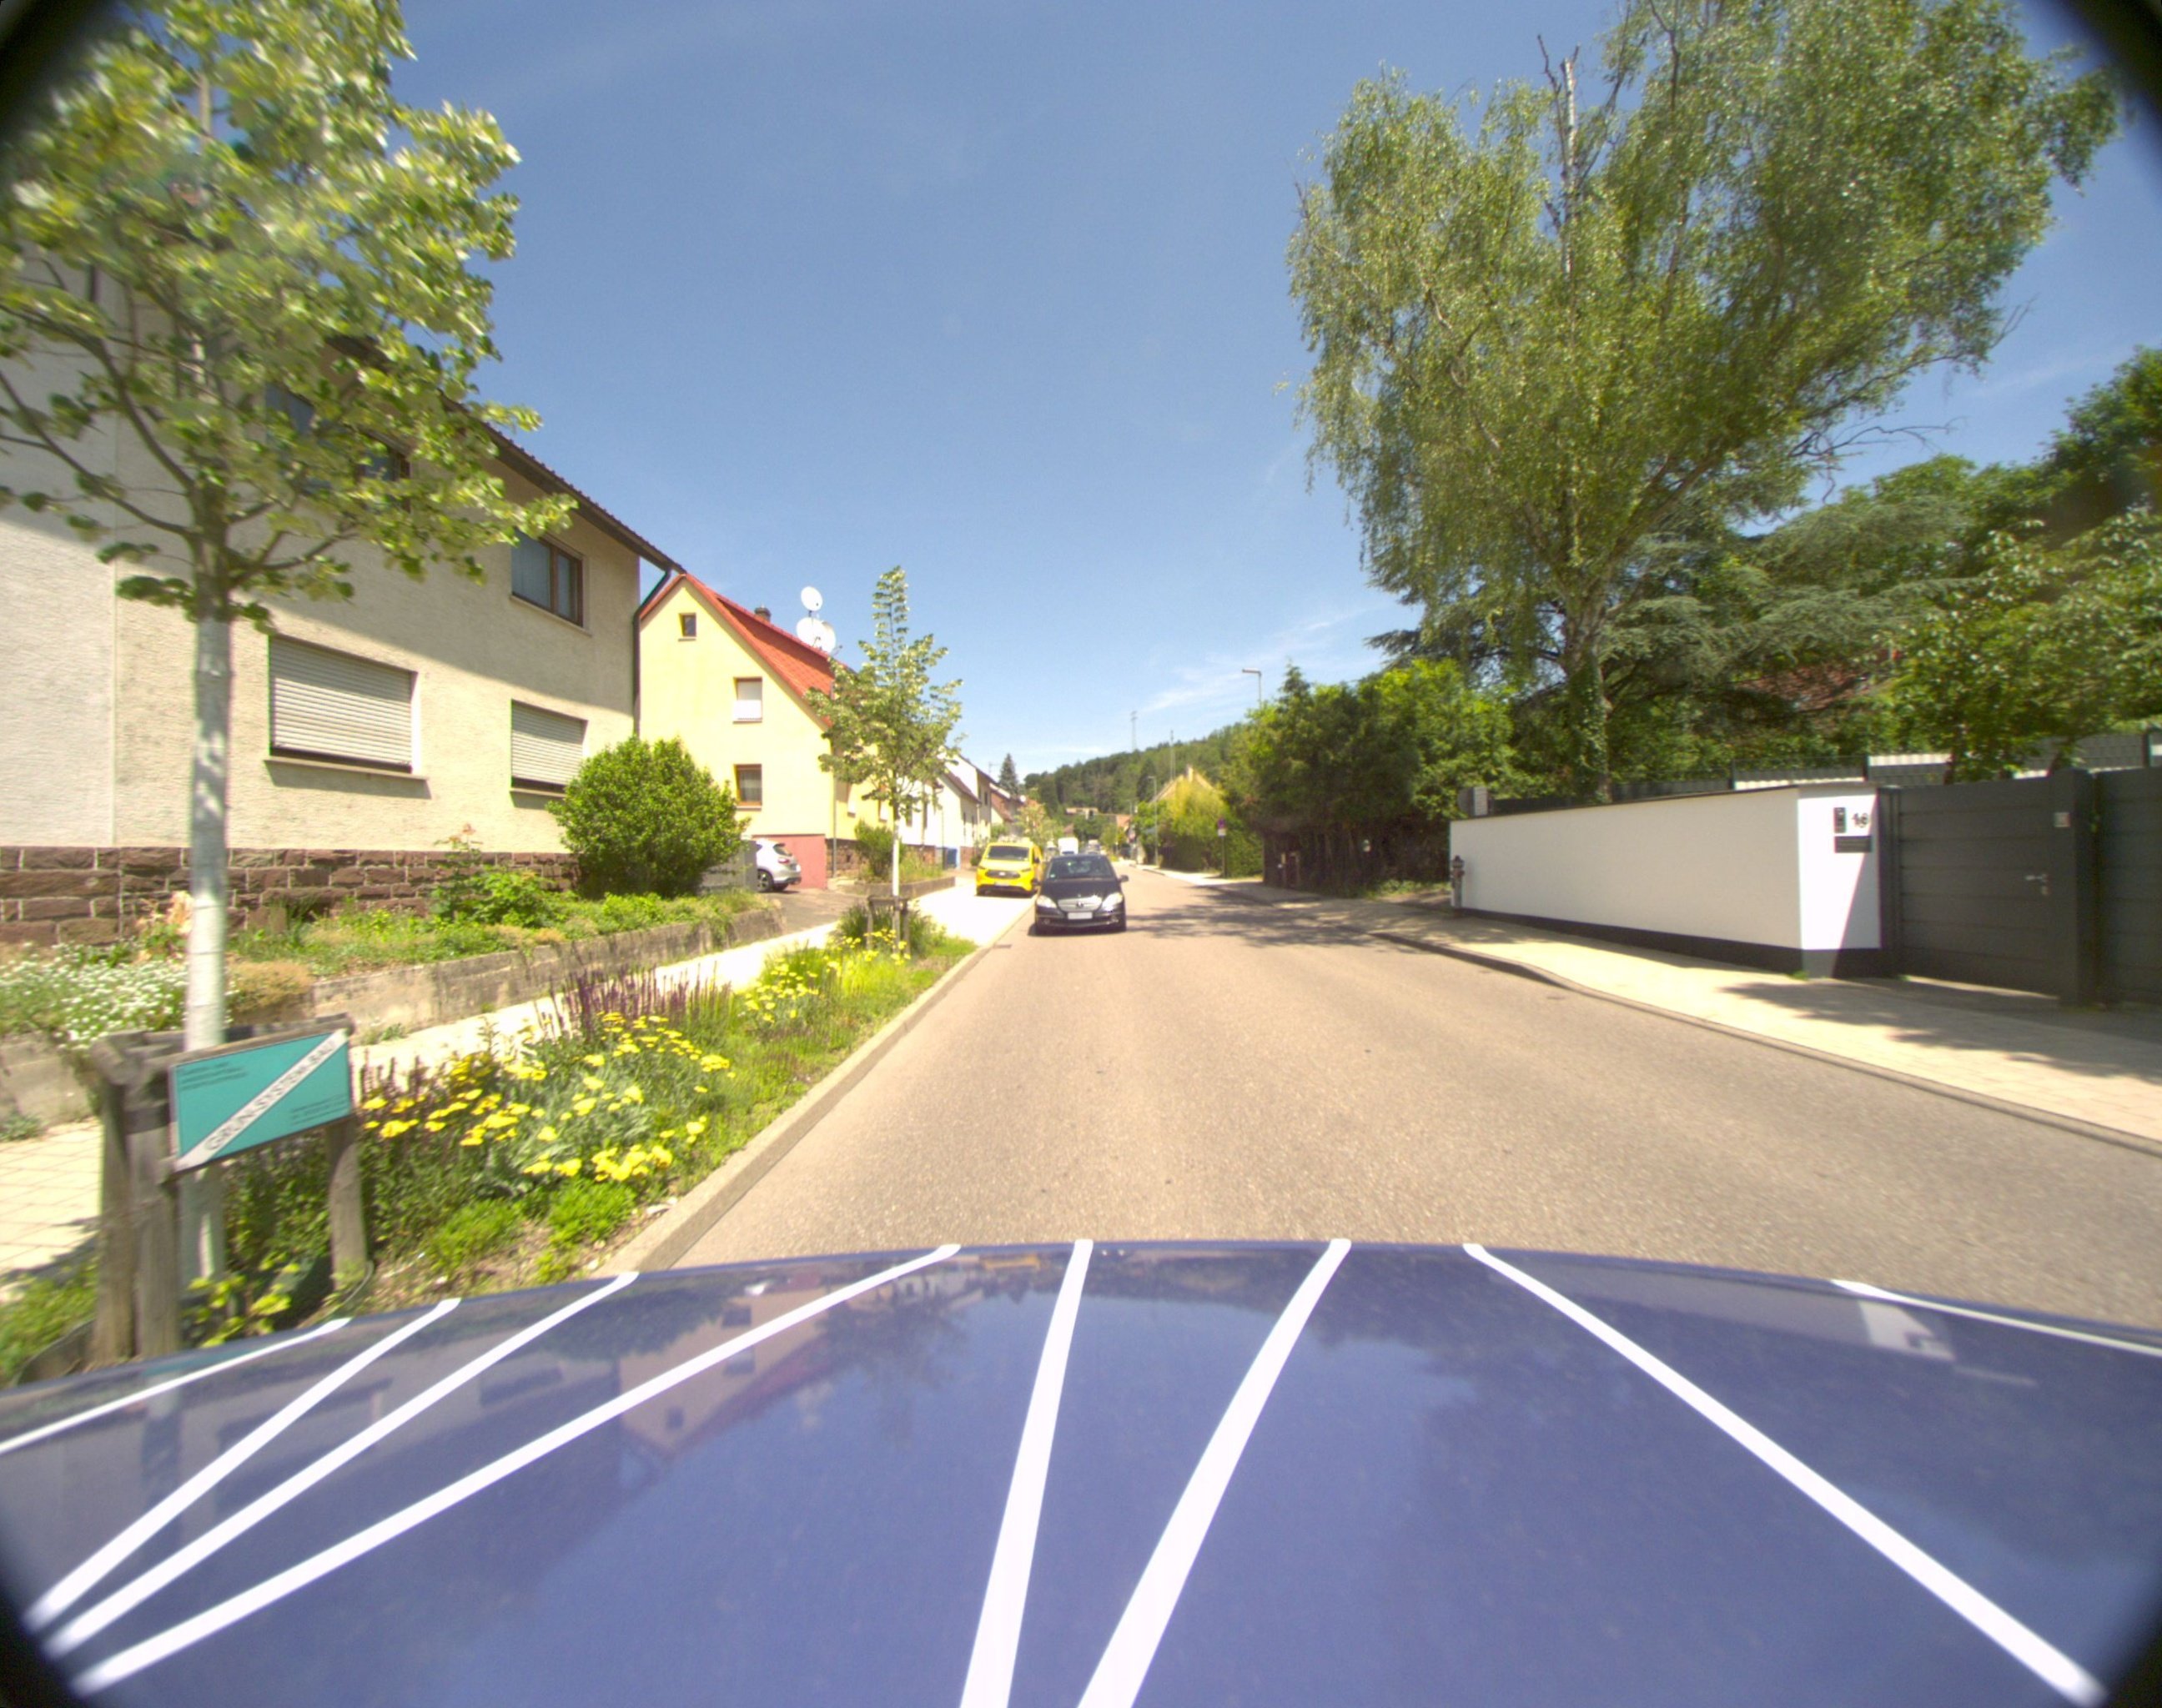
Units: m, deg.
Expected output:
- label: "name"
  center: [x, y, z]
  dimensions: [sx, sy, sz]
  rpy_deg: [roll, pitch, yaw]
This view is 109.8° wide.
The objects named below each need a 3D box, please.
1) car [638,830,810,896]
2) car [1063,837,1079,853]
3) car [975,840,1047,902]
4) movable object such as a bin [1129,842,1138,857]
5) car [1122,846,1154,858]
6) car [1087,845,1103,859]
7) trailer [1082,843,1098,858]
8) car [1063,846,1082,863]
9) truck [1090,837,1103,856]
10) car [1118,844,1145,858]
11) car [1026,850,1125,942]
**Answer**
- label: "car"
  center: [-10.101, 0.248, 21.743]
  dimensions: [3.998, 1.667, 1.873]
  rpy_deg: [2, 1, -2]
- label: "car"
  center: [-1.408, -1.352, 108.571]
  dimensions: [1.986, 2.170, 4.000]
  rpy_deg: [-3, 1, 3]
- label: "car"
  center: [-2.525, 0.518, 28.717]
  dimensions: [2.195, 2.002, 5.621]
  rpy_deg: [3, 1, -1]
- label: "movable object such as a bin"
  center: [7.270, -0.569, 104.522]
  dimensions: [1.062, 2.002, 1.322]
  rpy_deg: [-3, 2, 0]
- label: "car"
  center: [7.973, -0.250, 106.215]
  dimensions: [4.040, 1.491, 1.707]
  rpy_deg: [-2, 2, 39]
- label: "car"
  center: [1.825, -0.276, 98.076]
  dimensions: [1.872, 1.643, 3.948]
  rpy_deg: [-3, 0, 0]
- label: "trailer"
  center: [1.318, -0.546, 115.088]
  dimensions: [2.161, 1.975, 6.199]
  rpy_deg: [-3, 1, -2]
- label: "car"
  center: [-1.005, 0.024, 86.160]
  dimensions: [1.999, 1.716, 3.999]
  rpy_deg: [-3, 1, -1]
- label: "truck"
  center: [3.110, -1.478, 152.144]
  dimensions: [2.548, 3.716, 8.621]
  rpy_deg: [-1, 1, 2]
- label: "car"
  center: [7.303, -0.454, 110.422]
  dimensions: [3.606, 1.780, 1.847]
  rpy_deg: [-3, 2, -1]
- label: "car"
  center: [-0.041, 0.767, 16.602]
  dimensions: [1.767, 1.572, 4.930]
  rpy_deg: [-3, 1, 1]
